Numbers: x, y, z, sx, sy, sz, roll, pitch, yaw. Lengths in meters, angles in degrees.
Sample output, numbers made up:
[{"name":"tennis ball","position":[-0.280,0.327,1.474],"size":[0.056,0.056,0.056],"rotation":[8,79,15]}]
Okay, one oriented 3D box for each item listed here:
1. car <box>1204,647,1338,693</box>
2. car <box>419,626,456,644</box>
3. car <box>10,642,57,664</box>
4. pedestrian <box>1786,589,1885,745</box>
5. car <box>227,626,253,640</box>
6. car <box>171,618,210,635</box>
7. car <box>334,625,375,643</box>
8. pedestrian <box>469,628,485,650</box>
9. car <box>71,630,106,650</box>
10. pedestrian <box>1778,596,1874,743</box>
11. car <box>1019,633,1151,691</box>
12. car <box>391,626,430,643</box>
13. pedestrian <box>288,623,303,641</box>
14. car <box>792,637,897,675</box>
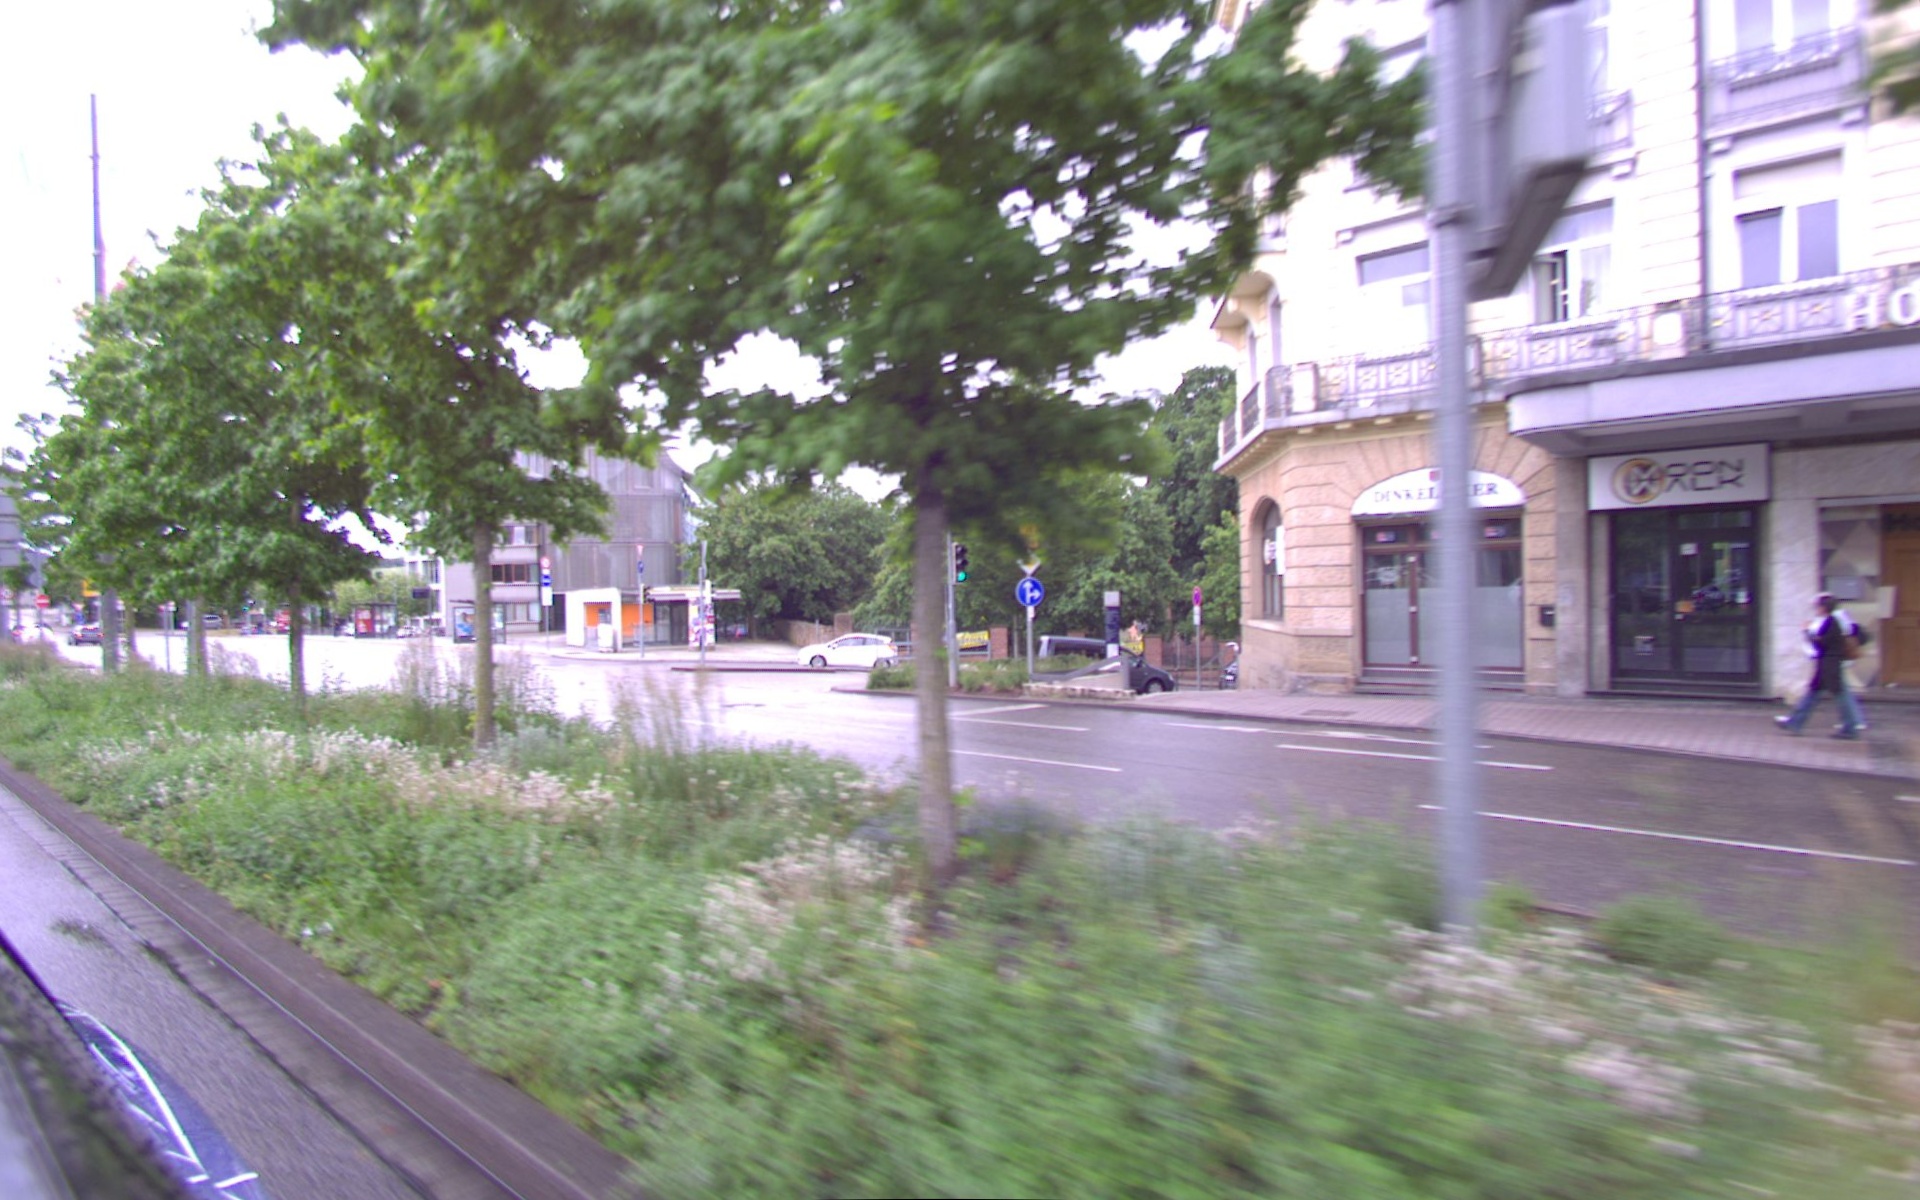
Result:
[{"name":"car","position":[10.347,2.323,33.816],"size":[3.936,1.409,1.638],"rotation":[0,-2,-9]},{"name":"car","position":[-52.820,3.519,102.358],"size":[1.849,1.715,4.161],"rotation":[1,-2,-4]},{"name":"car","position":[-63.642,3.618,69.496],"size":[4.163,1.363,1.984],"rotation":[-1,-2,42]},{"name":"pedestrian","position":[9.847,0.731,11.401],"size":[0.807,1.676,0.674],"rotation":[-1,-2,41]},{"name":"car","position":[-77.463,3.544,108.842],"size":[3.865,1.524,1.658],"rotation":[-1,-2,44]},{"name":"car","position":[-87.734,3.010,115.481],"size":[1.967,1.896,4.009],"rotation":[1,-2,-11]},{"name":"car","position":[-60.775,3.415,101.605],"size":[1.849,1.715,4.161],"rotation":[1,-2,-4]},{"name":"pedestrian","position":[-29.720,2.382,62.245],"size":[0.659,1.309,0.720],"rotation":[2,-3,-44]},{"name":"car","position":[-66.948,3.039,77.710],"size":[4.454,1.477,1.675],"rotation":[-1,-2,45]},{"name":"pedestrian","position":[10.300,0.802,12.039],"size":[0.807,1.676,0.674],"rotation":[-1,-3,44]},{"name":"car","position":[4.046,1.992,32.951],"size":[3.936,1.772,1.638],"rotation":[0,-2,-9]},{"name":"car","position":[-55.290,3.466,101.889],"size":[1.849,1.715,4.161],"rotation":[0,-1,-4]},{"name":"pedestrian","position":[-58.205,2.803,88.623],"size":[0.969,1.501,0.735],"rotation":[2,-2,-39]},{"name":"car","position":[-4.460,2.149,39.272],"size":[3.939,1.409,1.637],"rotation":[0,-2,-4]}]
